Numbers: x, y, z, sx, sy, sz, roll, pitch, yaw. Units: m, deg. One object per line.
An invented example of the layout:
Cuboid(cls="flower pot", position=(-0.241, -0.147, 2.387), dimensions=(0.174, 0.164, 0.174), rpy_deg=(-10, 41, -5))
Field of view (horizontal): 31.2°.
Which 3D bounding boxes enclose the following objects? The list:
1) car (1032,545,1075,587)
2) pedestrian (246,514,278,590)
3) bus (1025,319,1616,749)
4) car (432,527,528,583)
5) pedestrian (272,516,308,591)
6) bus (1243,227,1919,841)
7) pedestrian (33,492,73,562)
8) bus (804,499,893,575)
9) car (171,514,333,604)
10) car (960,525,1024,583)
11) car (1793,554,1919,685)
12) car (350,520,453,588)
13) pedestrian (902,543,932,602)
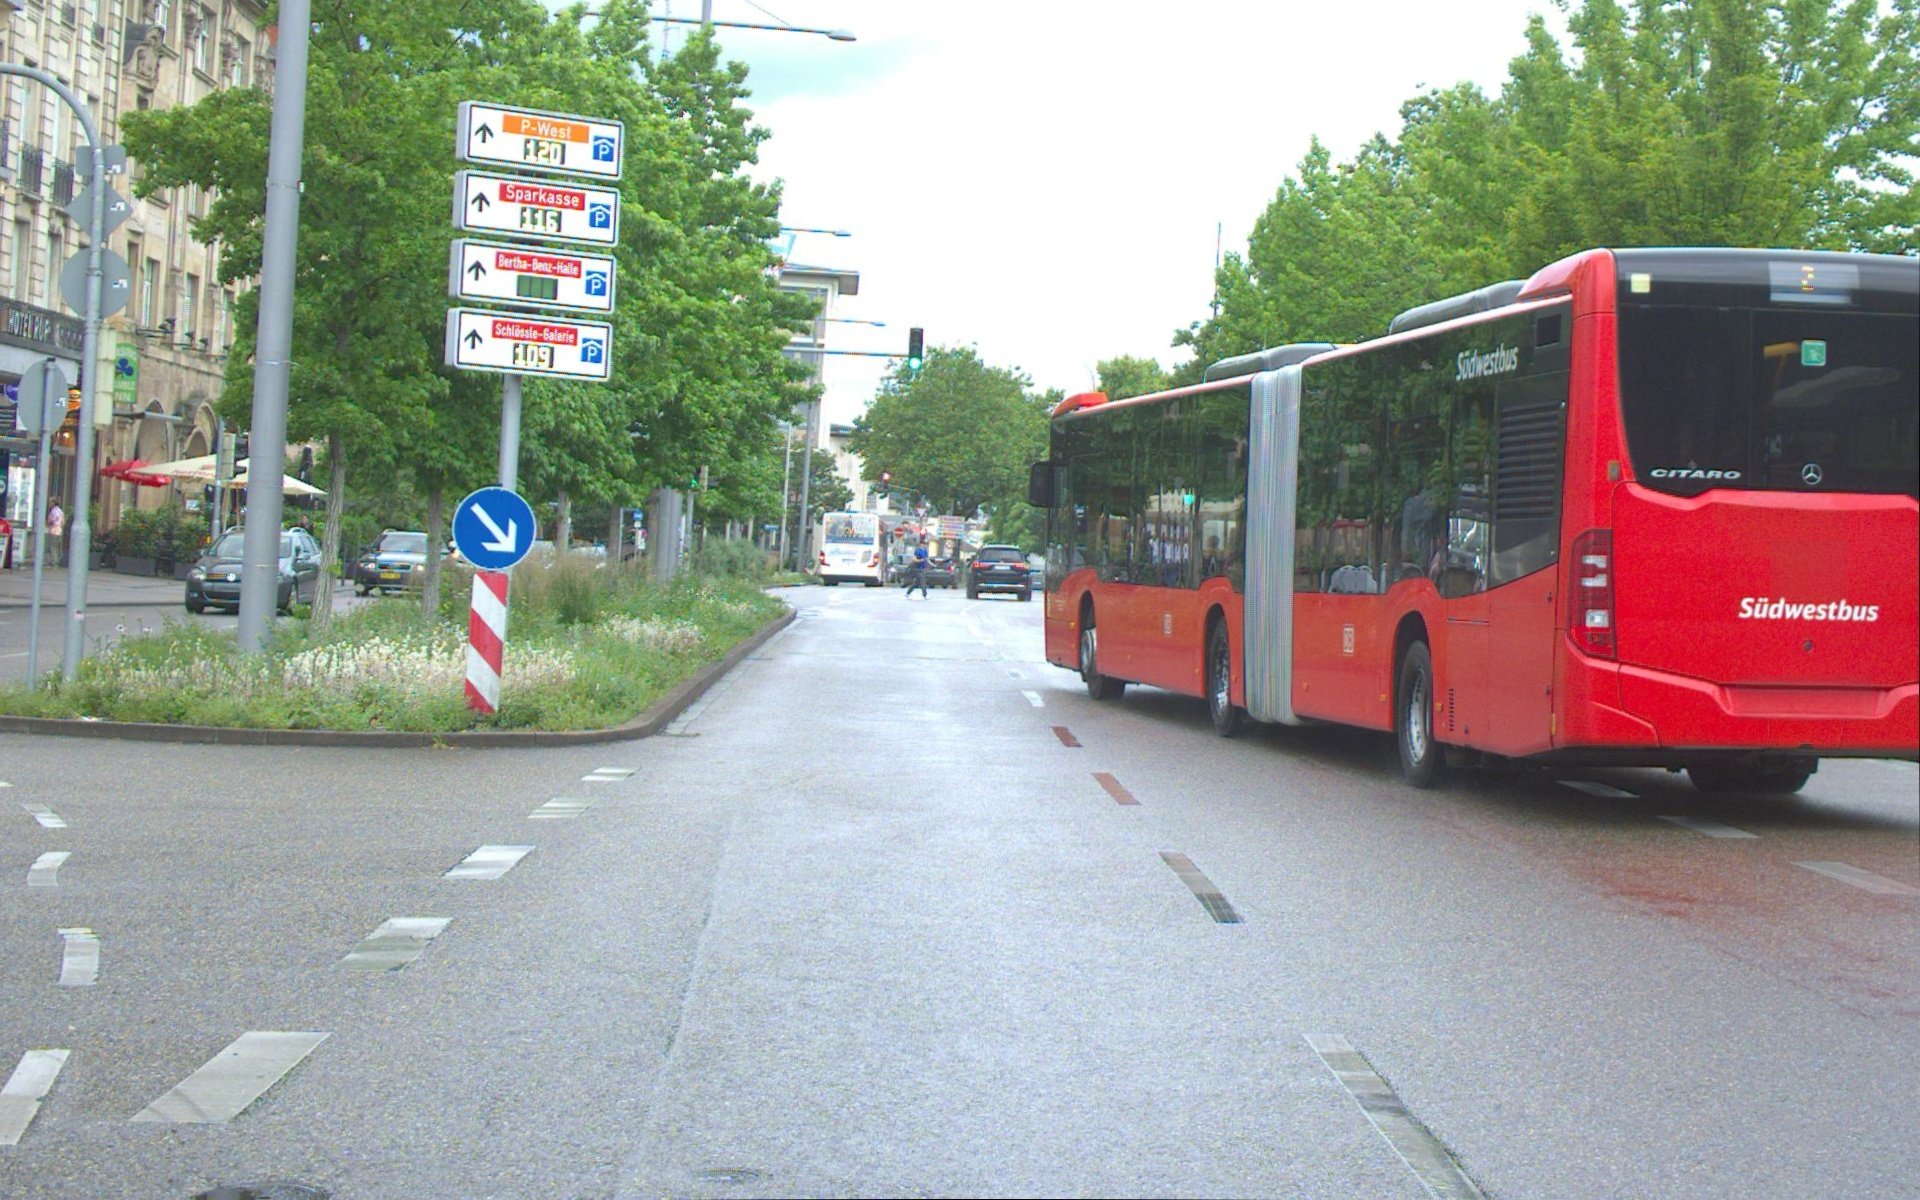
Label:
Cuboid(cls="car", position=(4.295, -1.557, 158.063), dimensions=(1.788, 1.853, 4.000), rpy_deg=(2, 1, -1))
Cuboid(cls="pedestrian", position=(-16.005, -1.105, 78.856), dimensions=(0.575, 1.726, 0.609), rpy_deg=(2, 1, -1))
Cuboid(cls="bus", position=(2.813, -0.578, 30.811), dimensions=(2.742, 3.163, 10.197), rpy_deg=(1, 1, -8))
Cuboid(cls="car", position=(-12.405, -1.172, 89.092), dimensions=(1.755, 1.364, 4.060), rpy_deg=(2, 1, 2))
Cuboid(cls="pedestrian", position=(-15.352, -1.068, 78.778), dimensions=(0.674, 1.696, 0.634), rpy_deg=(2, 1, -1))
Cuboid(cls="bus", position=(4.049, -0.398, 22.011), dimensions=(2.742, 3.163, 8.122), rpy_deg=(1, 1, -7))
Cuboid(cls="pedestrian", position=(-19.656, -1.589, 74.532), dimensions=(0.661, 1.505, 0.519), rpy_deg=(1, 1, -38))
Cuboid(cls="bus", position=(-5.033, -2.833, 155.737), dimensions=(3.760, 3.198, 15.527), rpy_deg=(1, 1, -2))
Cuboid(cls="car", position=(-11.966, -0.701, 58.317), dimensions=(1.755, 1.436, 4.060), rpy_deg=(2, 1, 2))
Cuboid(cls="car", position=(1.027, -1.522, 112.682), dimensions=(1.993, 1.800, 4.690), rpy_deg=(1, 1, -1))
Cuboid(cls="car", position=(12.608, 0.229, 44.317), dimensions=(1.993, 1.594, 4.824), rpy_deg=(1, 1, -7))
Cuboid(cls="car", position=(-11.943, -0.991, 73.704), dimensions=(1.754, 1.364, 4.060), rpy_deg=(2, 1, -3))
Cuboid(cls="pedestrian", position=(-1.252, -0.795, 99.447), dimensions=(0.758, 1.695, 0.559), rpy_deg=(2, 1, 6))
